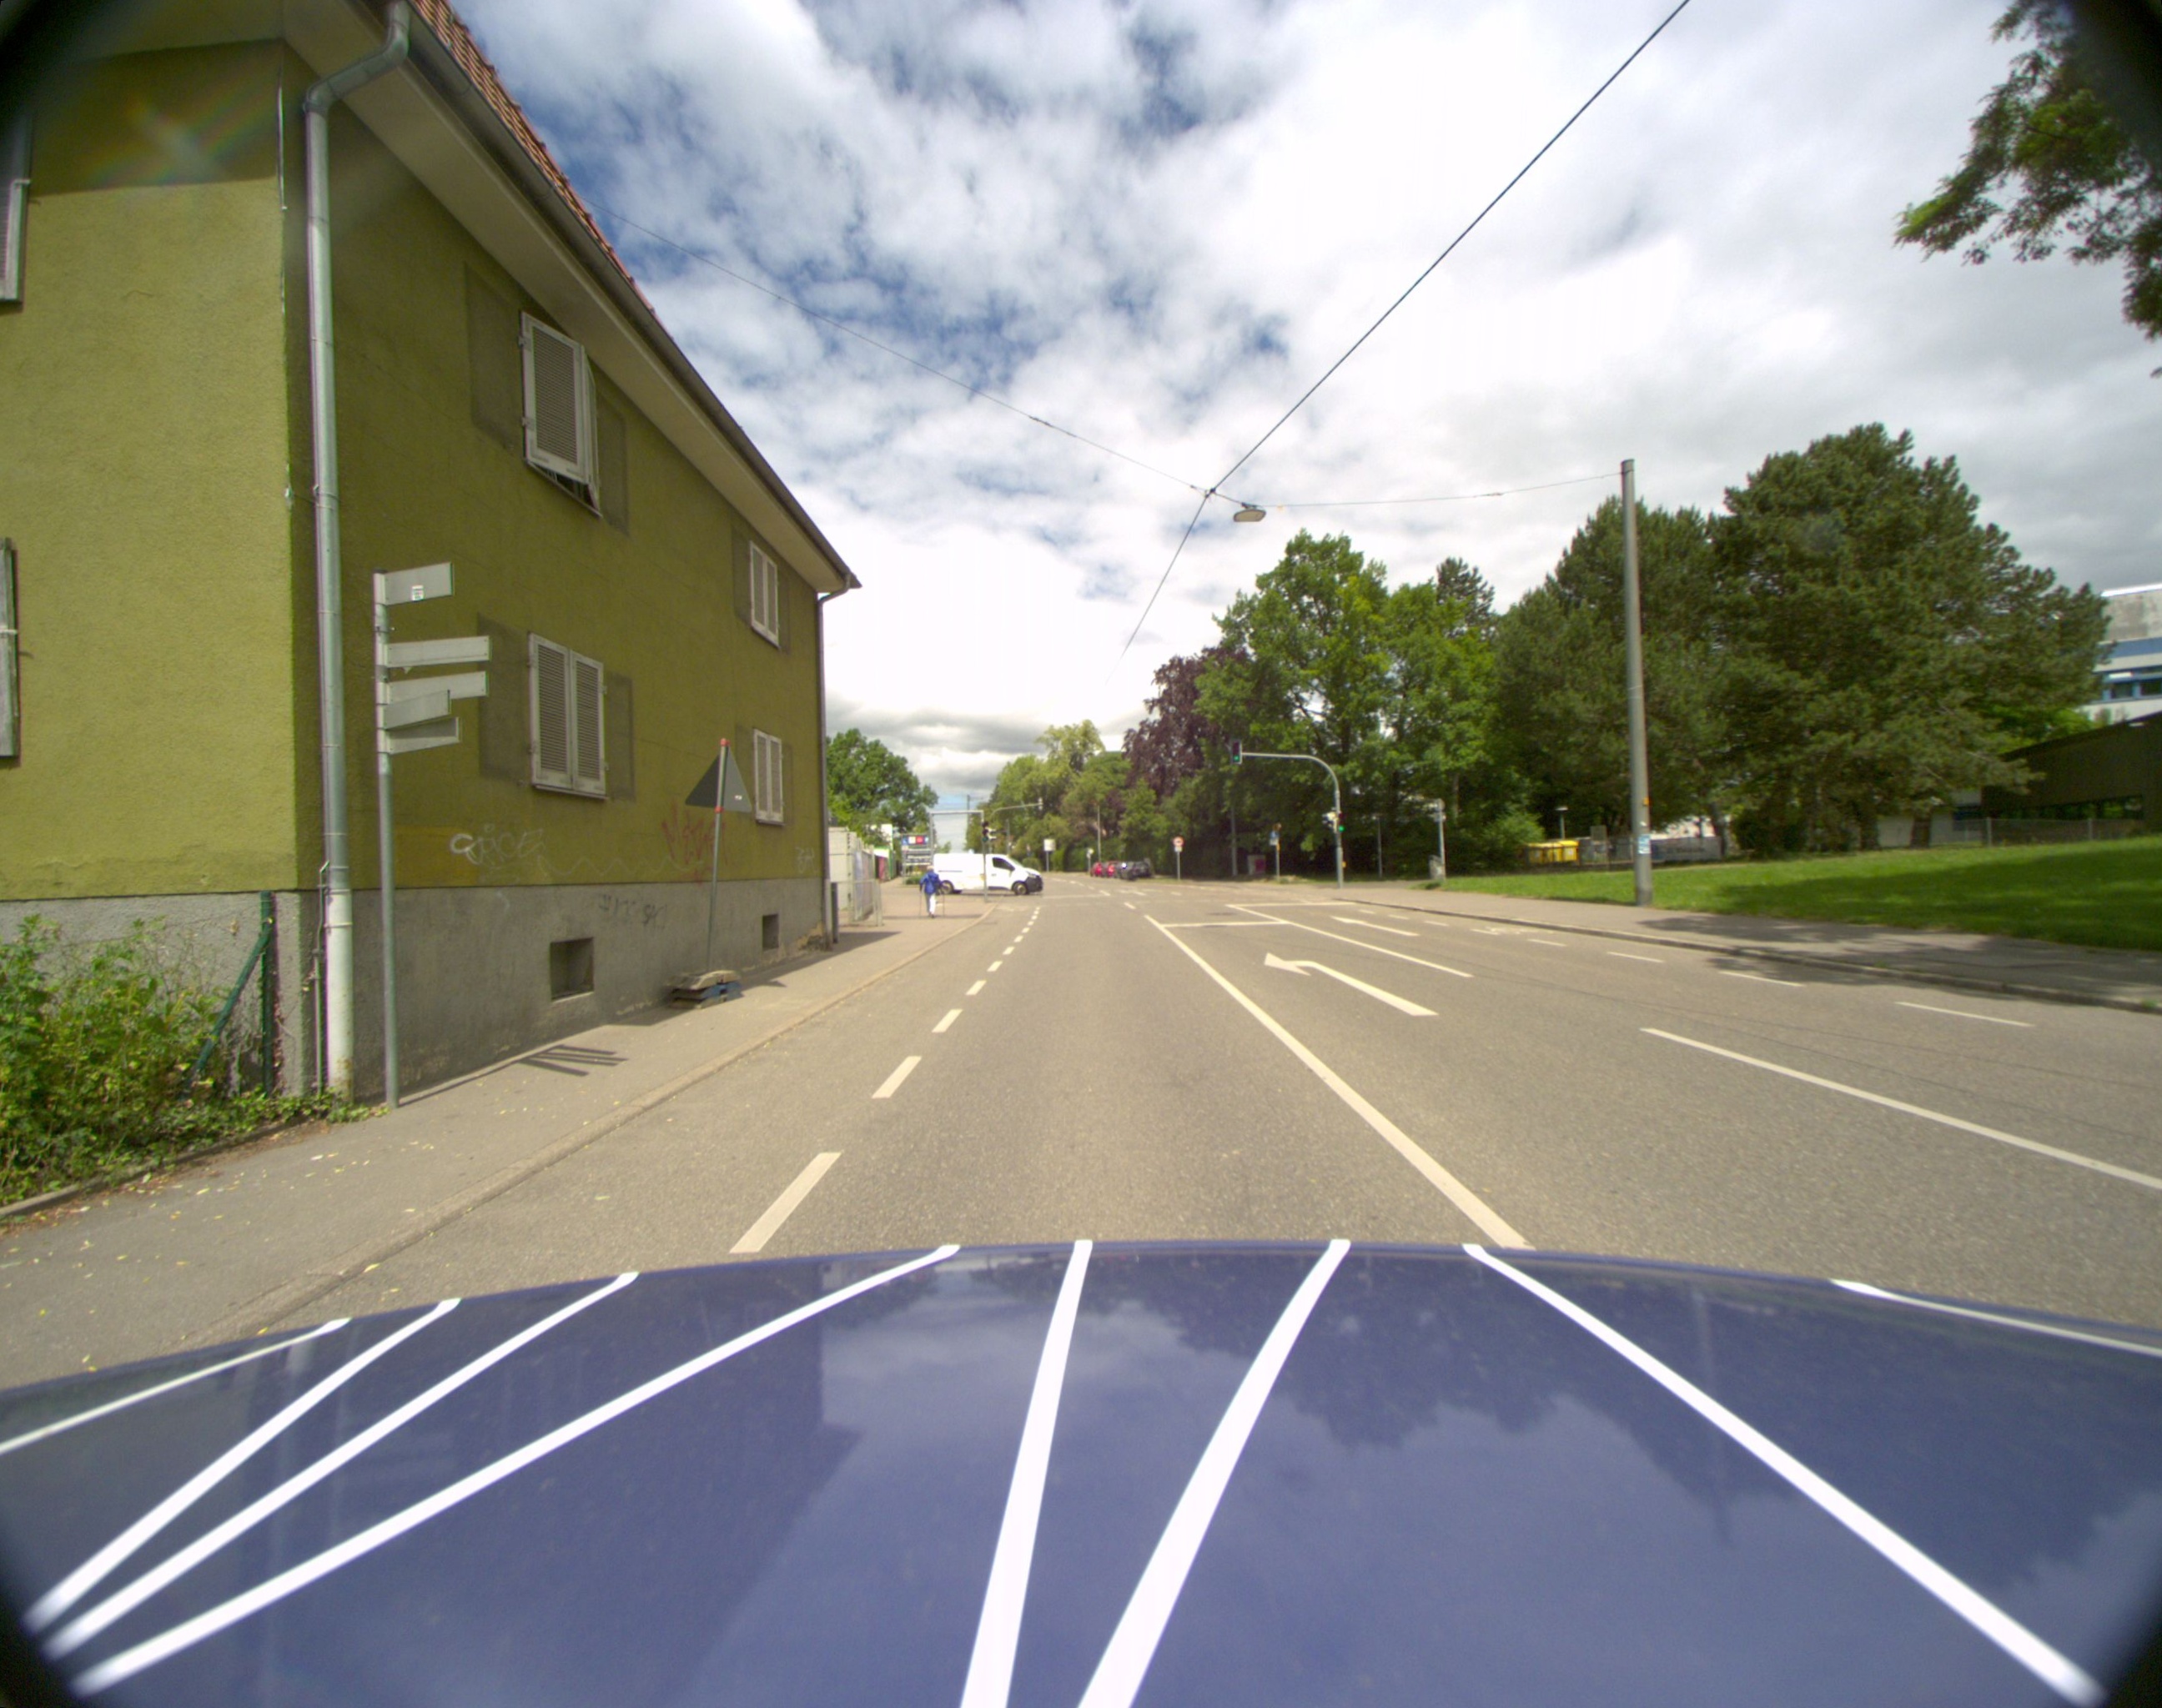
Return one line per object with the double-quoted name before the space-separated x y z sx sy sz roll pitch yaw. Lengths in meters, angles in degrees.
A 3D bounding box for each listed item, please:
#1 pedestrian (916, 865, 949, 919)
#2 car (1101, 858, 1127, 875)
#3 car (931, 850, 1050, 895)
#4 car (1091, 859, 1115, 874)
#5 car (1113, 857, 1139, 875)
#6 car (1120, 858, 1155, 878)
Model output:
"pedestrian" -4.410 1.110 22.615 0.826 1.563 0.987 -1 0 -4
"car" 2.985 1.113 69.763 1.524 1.469 3.321 -3 0 -12
"car" -4.288 0.881 36.488 5.345 2.011 2.001 -1 0 5
"car" 2.148 1.194 74.898 1.531 1.358 3.371 -3 1 -12
"car" 3.824 1.048 65.254 1.560 1.404 3.191 -3 1 -9
"car" 4.462 1.083 60.605 1.688 1.407 4.398 -3 1 -9
